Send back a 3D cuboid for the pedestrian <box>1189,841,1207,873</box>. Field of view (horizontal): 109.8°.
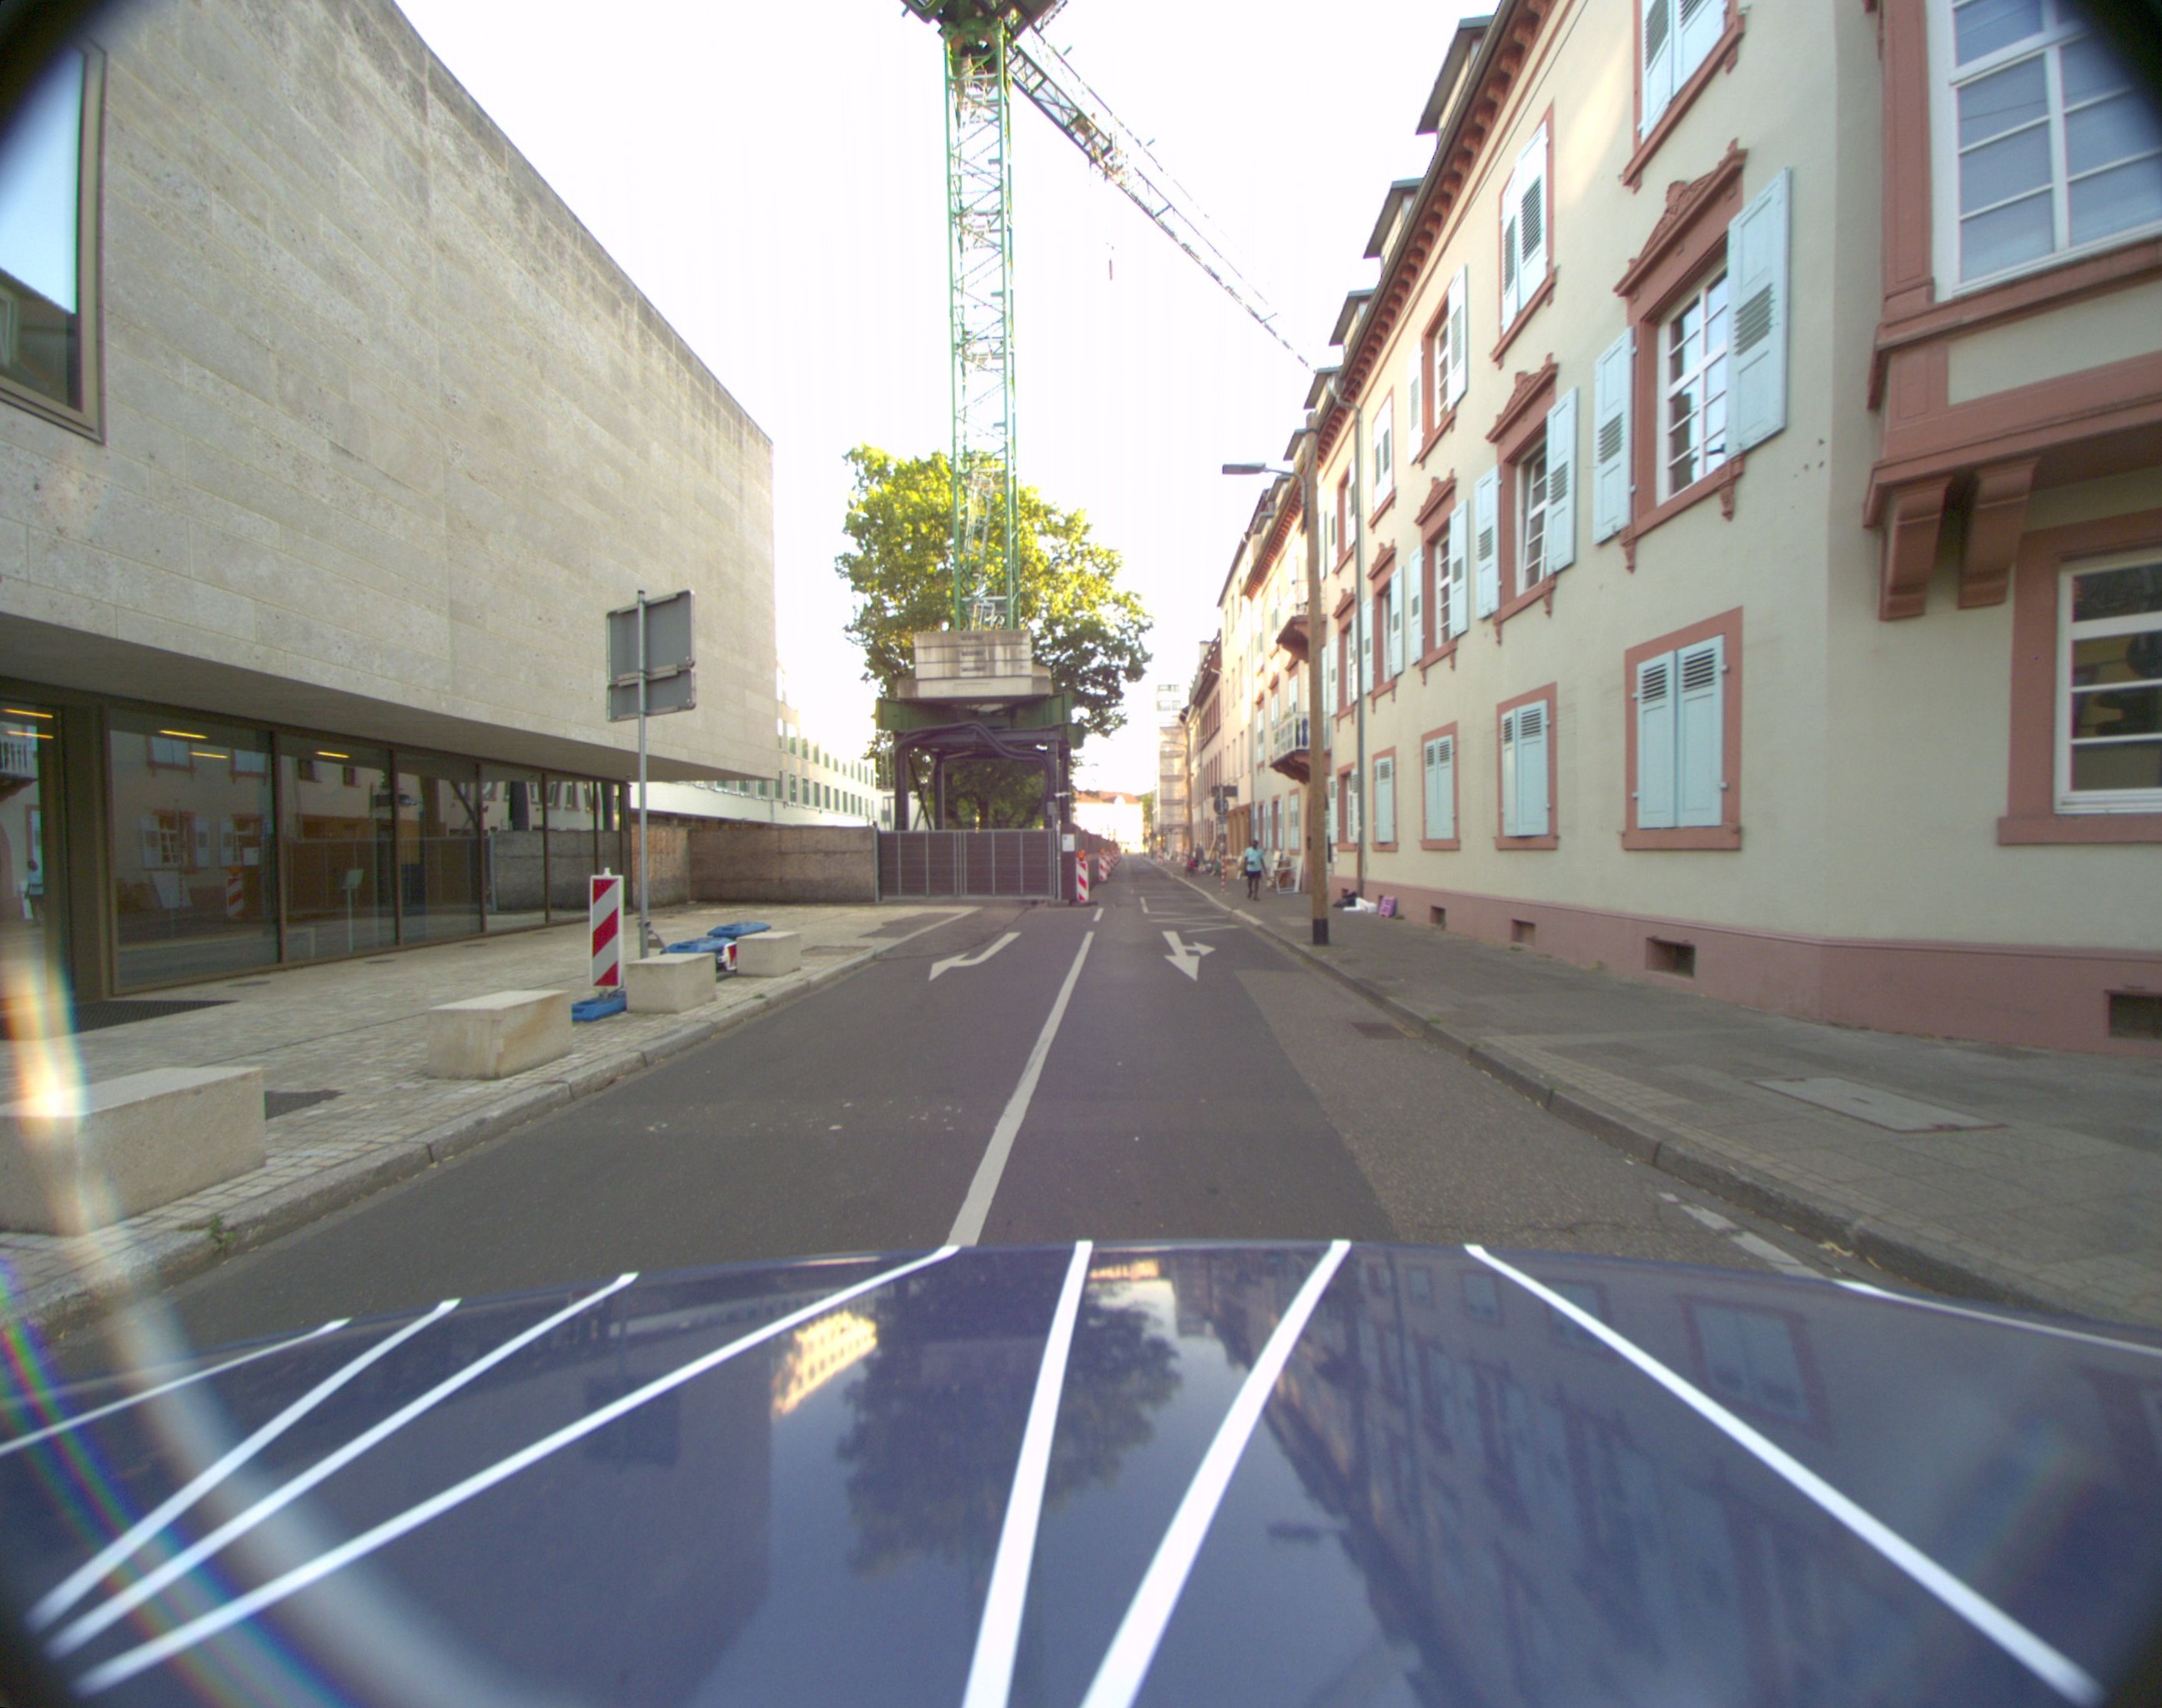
[{"bbox_3d":[6.318,0.158,40.942,0.826,1.687,0.649,-2,1,2],"label":"pedestrian"}]

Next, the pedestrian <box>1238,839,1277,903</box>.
[{"bbox_3d":[4.833,0.456,20.875,0.826,1.687,0.649,-4,1,2],"label":"pedestrian"}]

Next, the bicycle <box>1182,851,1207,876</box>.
[{"bbox_3d":[5.531,0.471,37.050,0.659,1.163,1.611,-1,1,29],"label":"bicycle"}]
